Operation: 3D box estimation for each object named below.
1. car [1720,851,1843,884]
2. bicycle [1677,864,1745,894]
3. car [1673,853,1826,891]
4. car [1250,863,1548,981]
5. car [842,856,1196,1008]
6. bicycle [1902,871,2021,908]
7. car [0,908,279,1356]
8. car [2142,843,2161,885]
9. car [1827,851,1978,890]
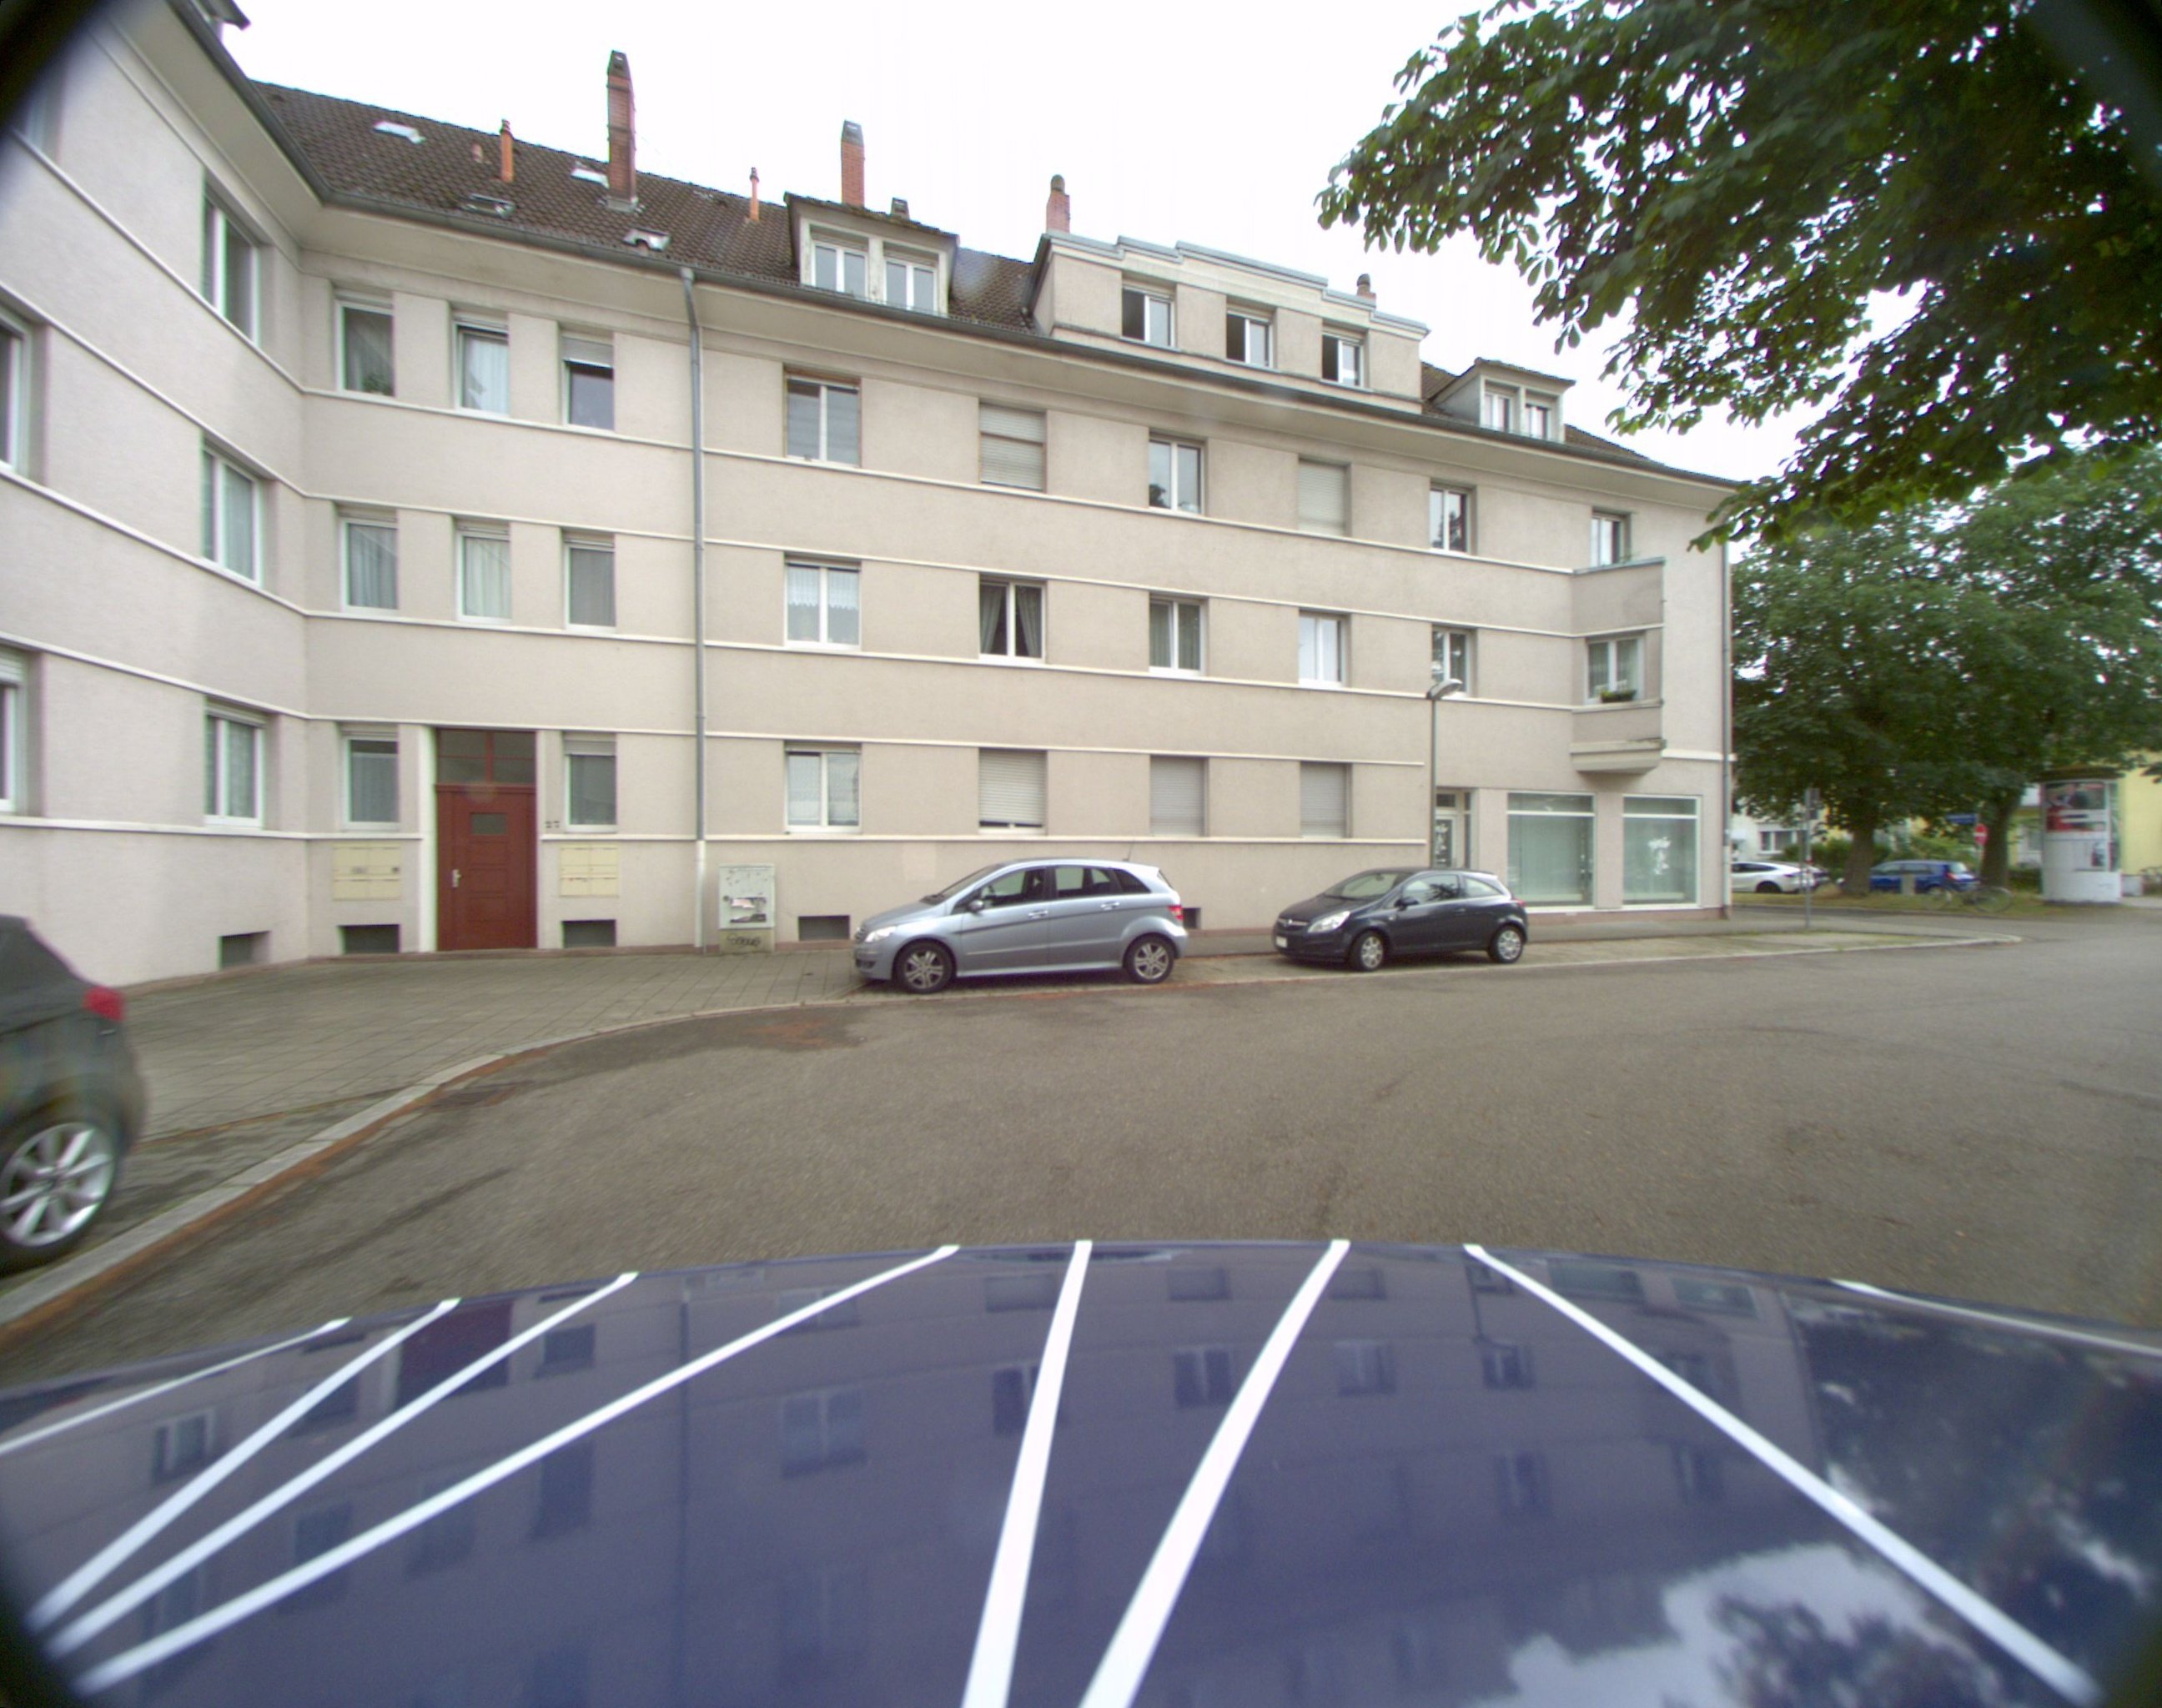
[{"bbox_3d":[34.778,0.662,37.866,1.721,1.491,4.159,-3,0,-22],"label":"car"},{"bbox_3d":[23.453,0.926,28.325,0.668,1.060,1.882,-1,0,-20],"label":"bicycle"},{"bbox_3d":[30.181,0.776,34.514,1.905,1.557,4.875,-1,0,-22],"label":"car"},{"bbox_3d":[4.777,0.926,11.554,3.939,1.481,1.760,-1,0,-16],"label":"car"},{"bbox_3d":[-0.824,0.880,9.843,4.202,1.618,1.760,-1,0,-14],"label":"car"},{"bbox_3d":[25.262,0.984,21.860,0.513,0.980,2.178,-3,1,-24],"label":"bicycle"},{"bbox_3d":[-4.490,1.014,1.833,1.764,1.516,4.073,0,-1,-18],"label":"car"},{"bbox_3d":[44.006,0.373,29.792,4.004,1.601,1.840,-1,0,-21],"label":"car"},{"bbox_3d":[36.172,0.695,33.624,1.706,1.557,4.204,-2,0,-18],"label":"car"}]
